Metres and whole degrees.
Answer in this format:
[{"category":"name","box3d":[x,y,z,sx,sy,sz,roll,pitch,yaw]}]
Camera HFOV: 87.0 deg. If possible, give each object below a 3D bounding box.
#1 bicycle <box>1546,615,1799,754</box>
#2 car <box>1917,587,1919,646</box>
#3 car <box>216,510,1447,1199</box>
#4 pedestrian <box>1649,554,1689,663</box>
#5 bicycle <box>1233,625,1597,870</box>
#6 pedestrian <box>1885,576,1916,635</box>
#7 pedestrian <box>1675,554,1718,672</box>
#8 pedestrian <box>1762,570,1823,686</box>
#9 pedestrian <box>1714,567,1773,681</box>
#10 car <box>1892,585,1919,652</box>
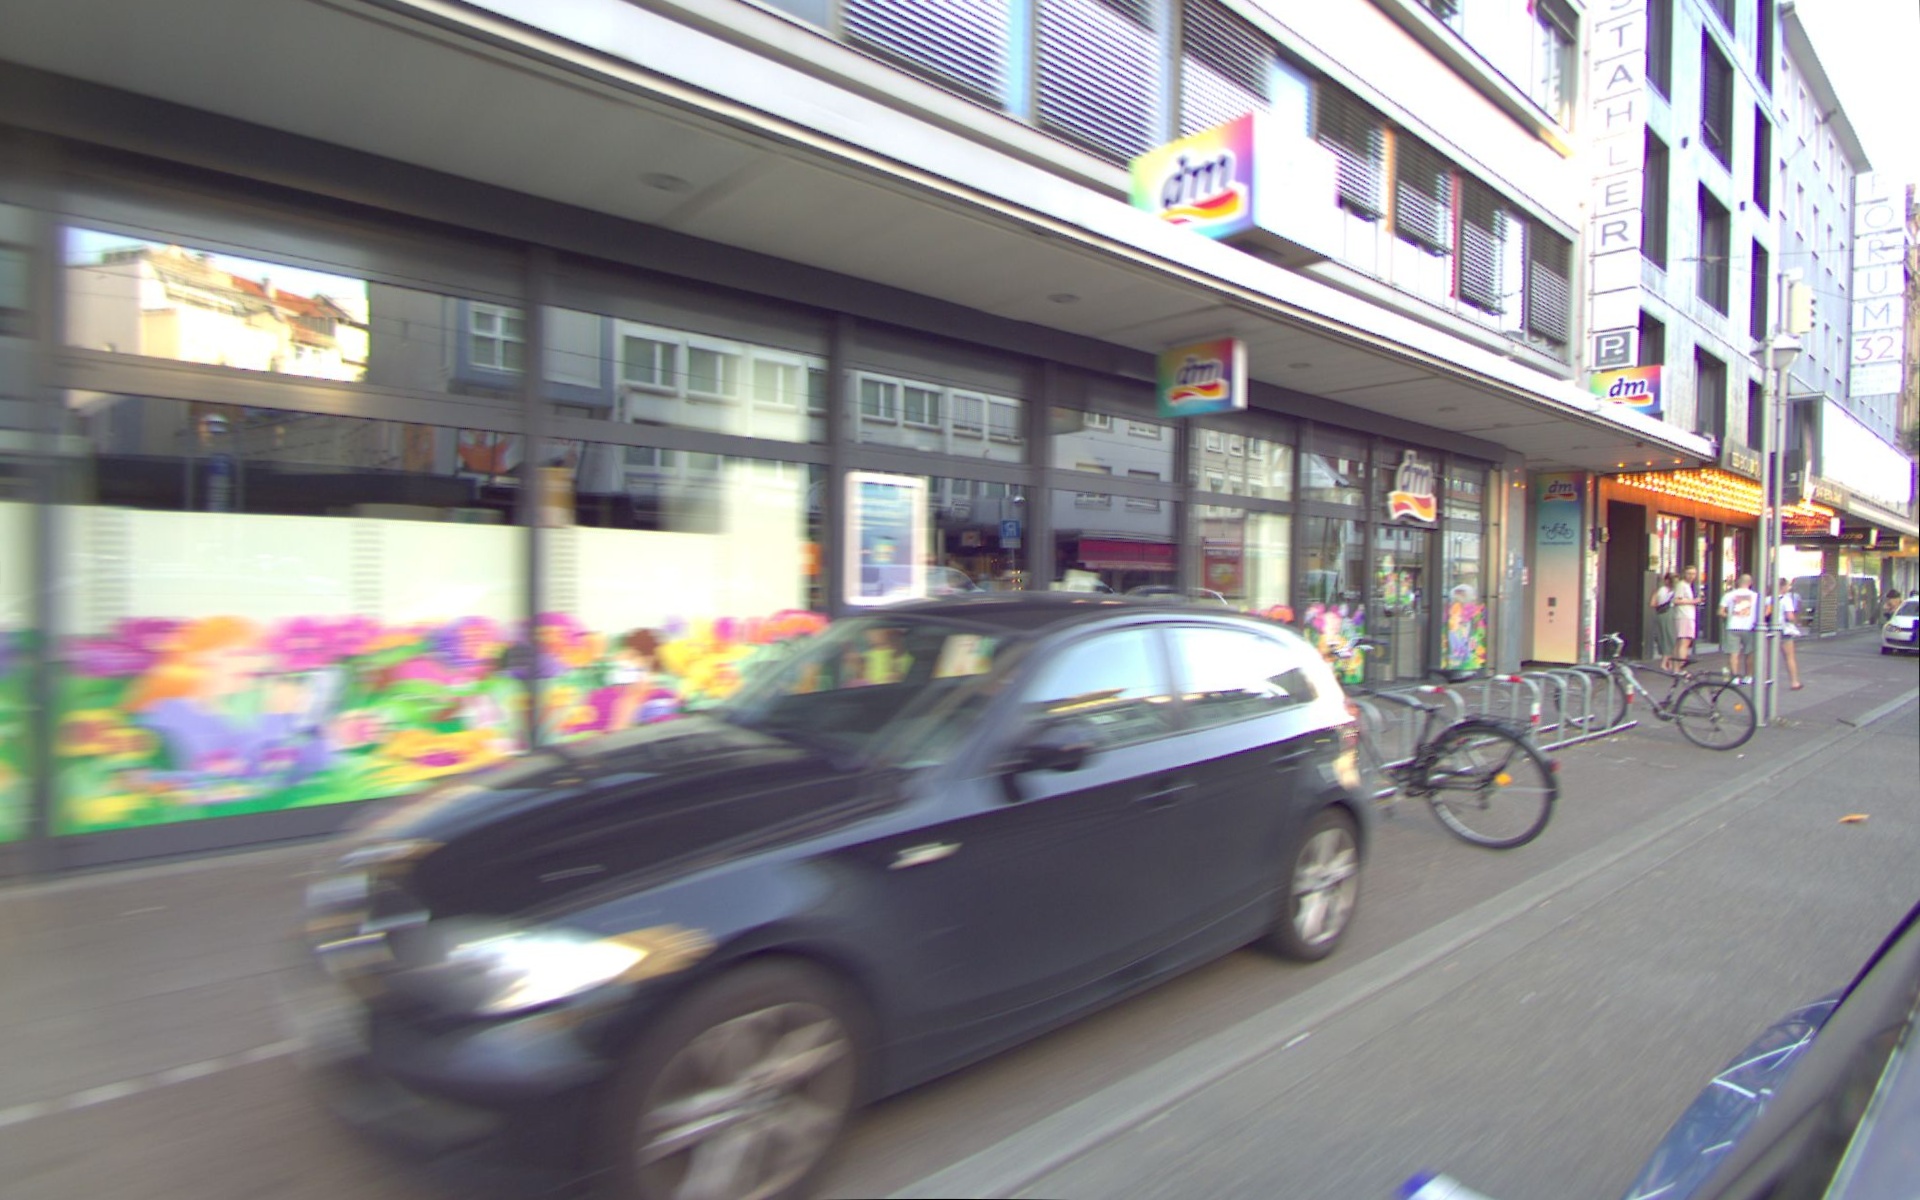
[{"category":"bicycle","box3d":[6.927,0.763,9.929,0.665,1.090,1.888,0,3,-43]},{"category":"car","box3d":[28.312,0.474,28.463,3.965,1.594,1.672,0,2,-41]},{"category":"car","box3d":[-0.058,0.567,3.700,4.183,1.530,1.748,0,3,-41]},{"category":"pedestrian","box3d":[12.733,0.148,18.171,0.414,1.922,0.452,0,1,-41]},{"category":"bicycle","box3d":[2.677,0.782,6.135,0.665,1.152,1.888,0,2,-43]},{"category":"pedestrian","box3d":[28.995,0.167,31.208,0.594,1.775,0.610,0,1,-41]},{"category":"pedestrian","box3d":[12.195,0.200,16.761,0.414,1.922,0.456,0,1,-41]},{"category":"pedestrian","box3d":[12.899,0.414,15.680,0.635,1.749,0.605,0,1,-41]},{"category":"pedestrian","box3d":[12.579,0.373,16.246,0.594,1.775,0.610,0,1,-41]},{"category":"car","box3d":[24.553,0.464,25.064,3.817,1.561,1.682,0,3,-40]}]
